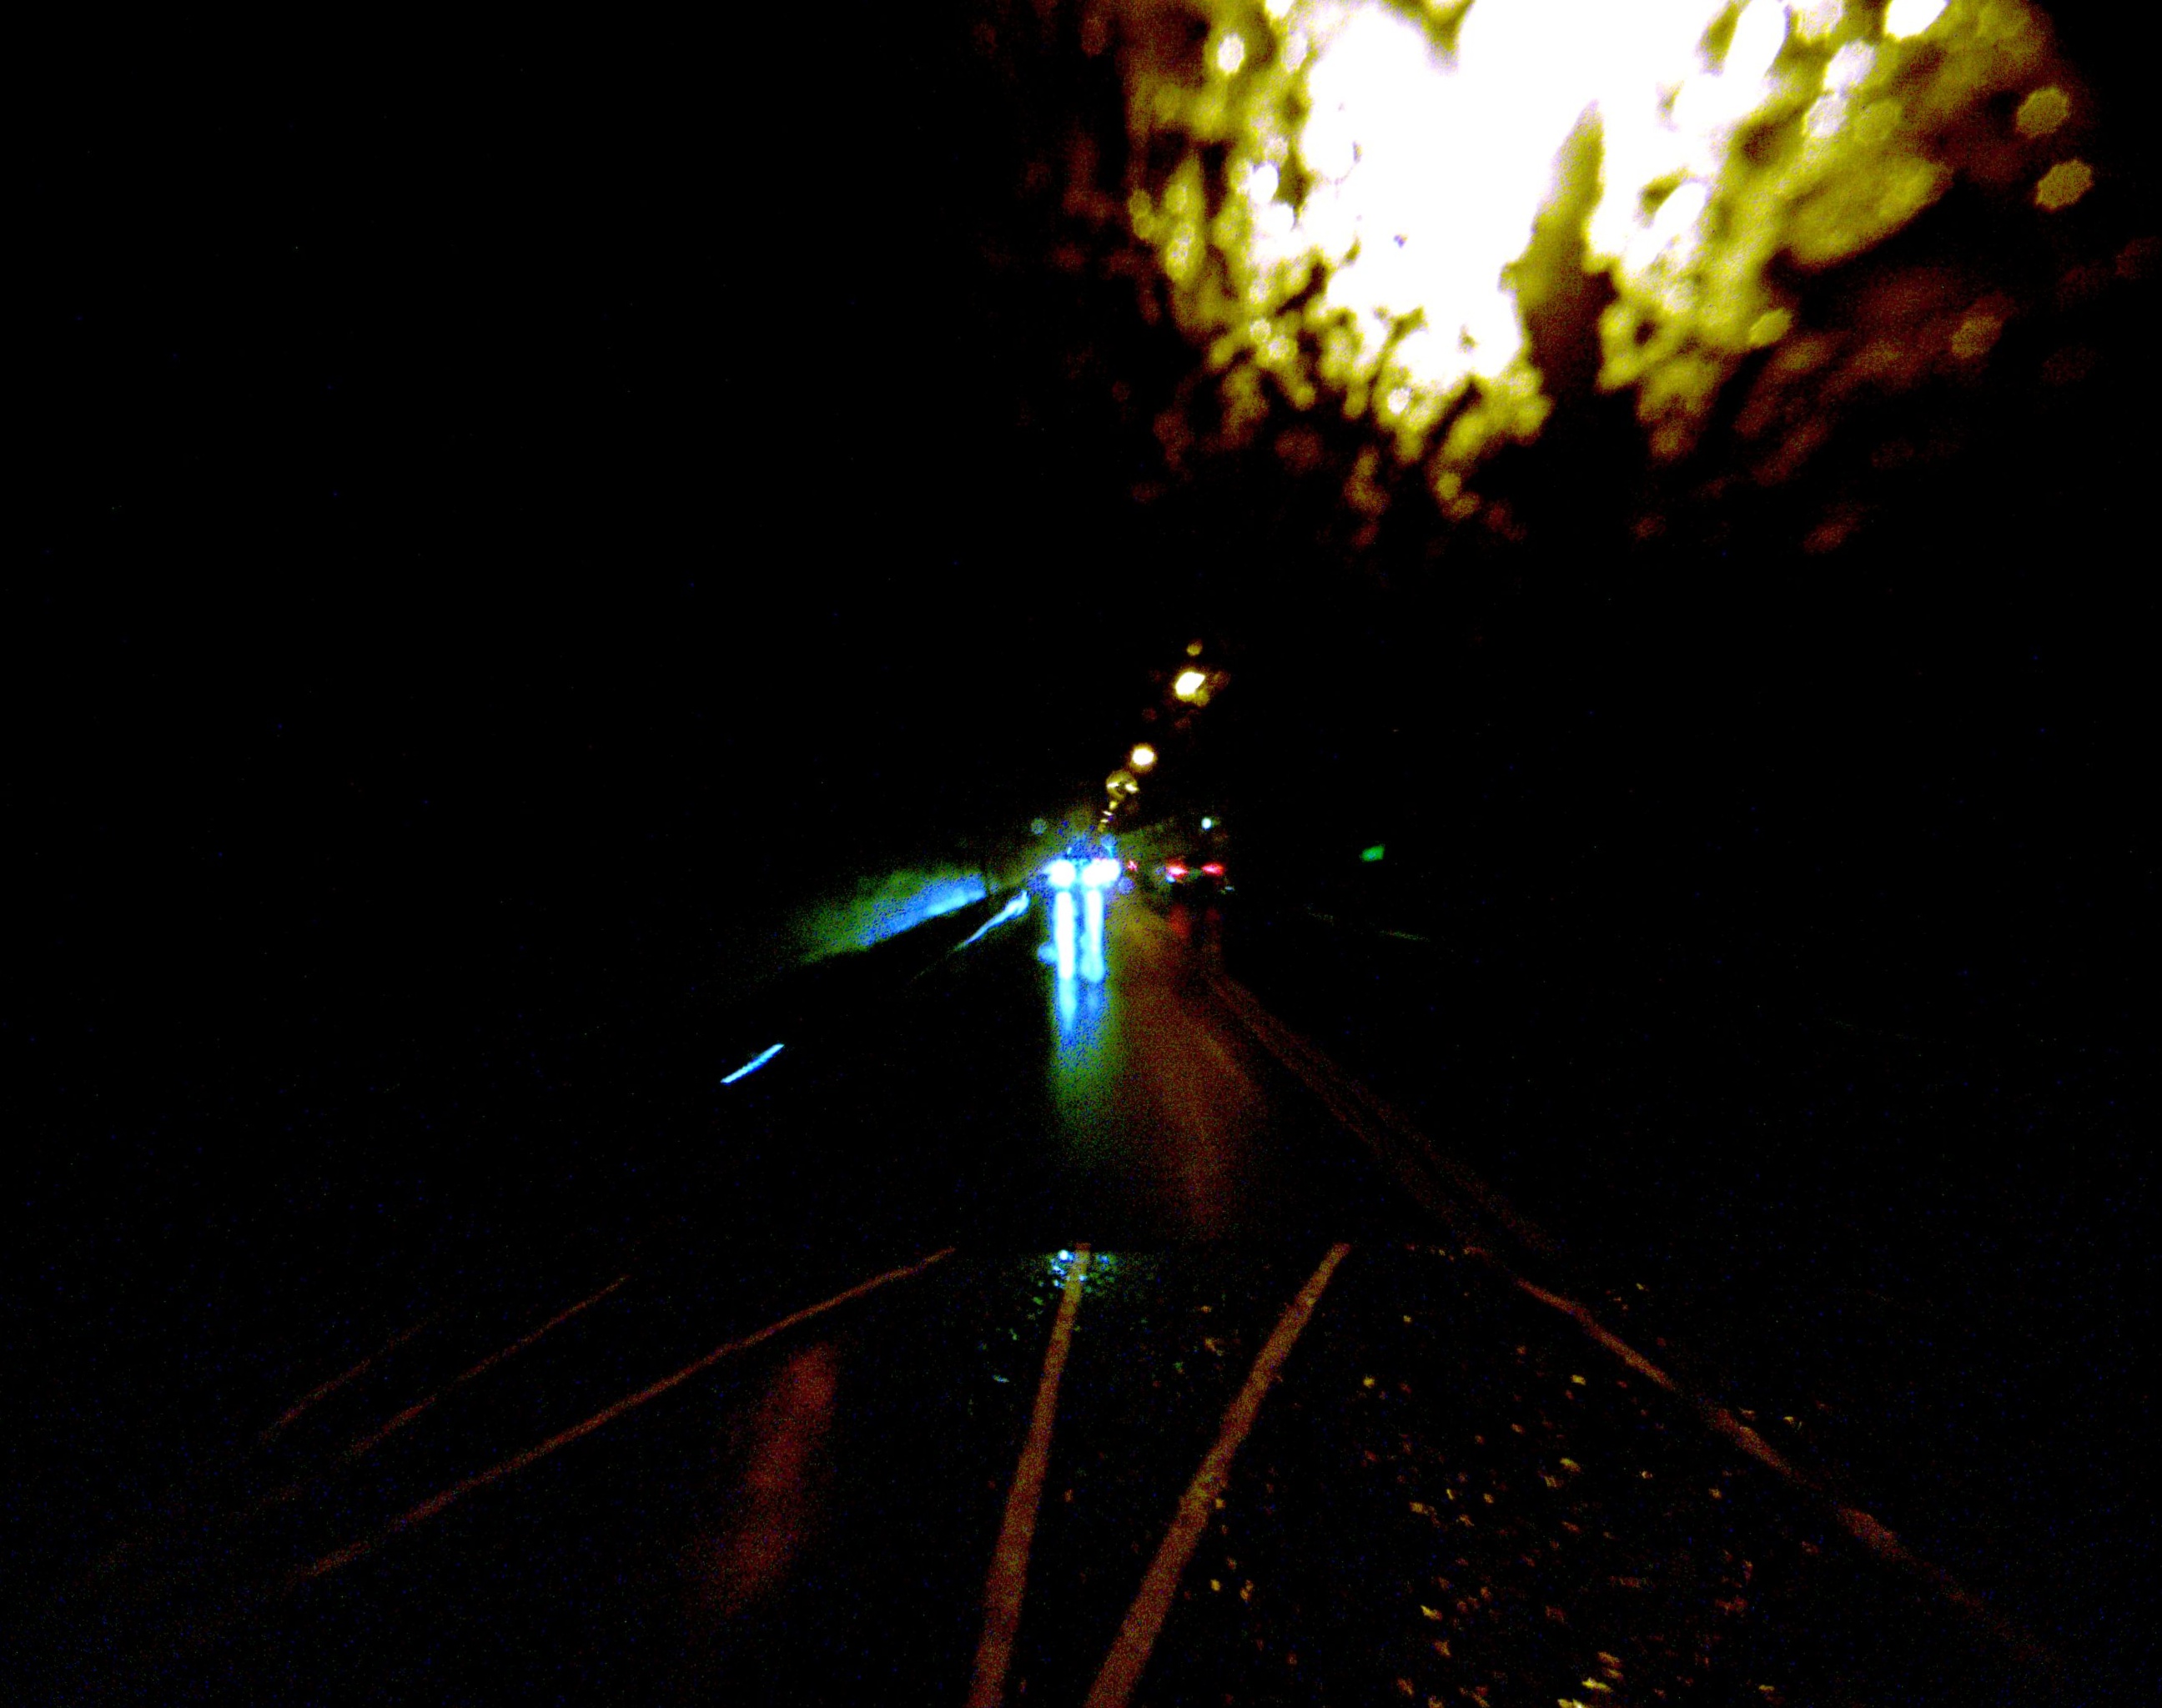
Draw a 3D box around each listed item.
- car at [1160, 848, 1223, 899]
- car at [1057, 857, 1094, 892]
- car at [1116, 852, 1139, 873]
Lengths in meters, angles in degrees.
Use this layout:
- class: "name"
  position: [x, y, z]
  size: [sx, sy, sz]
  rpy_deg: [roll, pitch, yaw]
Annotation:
- class: "car"
  position: [3.870, 0.629, 27.161]
  size: [1.639, 1.618, 4.145]
  rpy_deg: [-2, 0, 1]
- class: "car"
  position: [-0.224, 0.950, 36.296]
  size: [1.627, 1.487, 3.584]
  rpy_deg: [-2, 0, 1]
- class: "car"
  position: [3.781, 0.652, 62.257]
  size: [1.627, 1.603, 3.584]
  rpy_deg: [-2, 0, 1]
